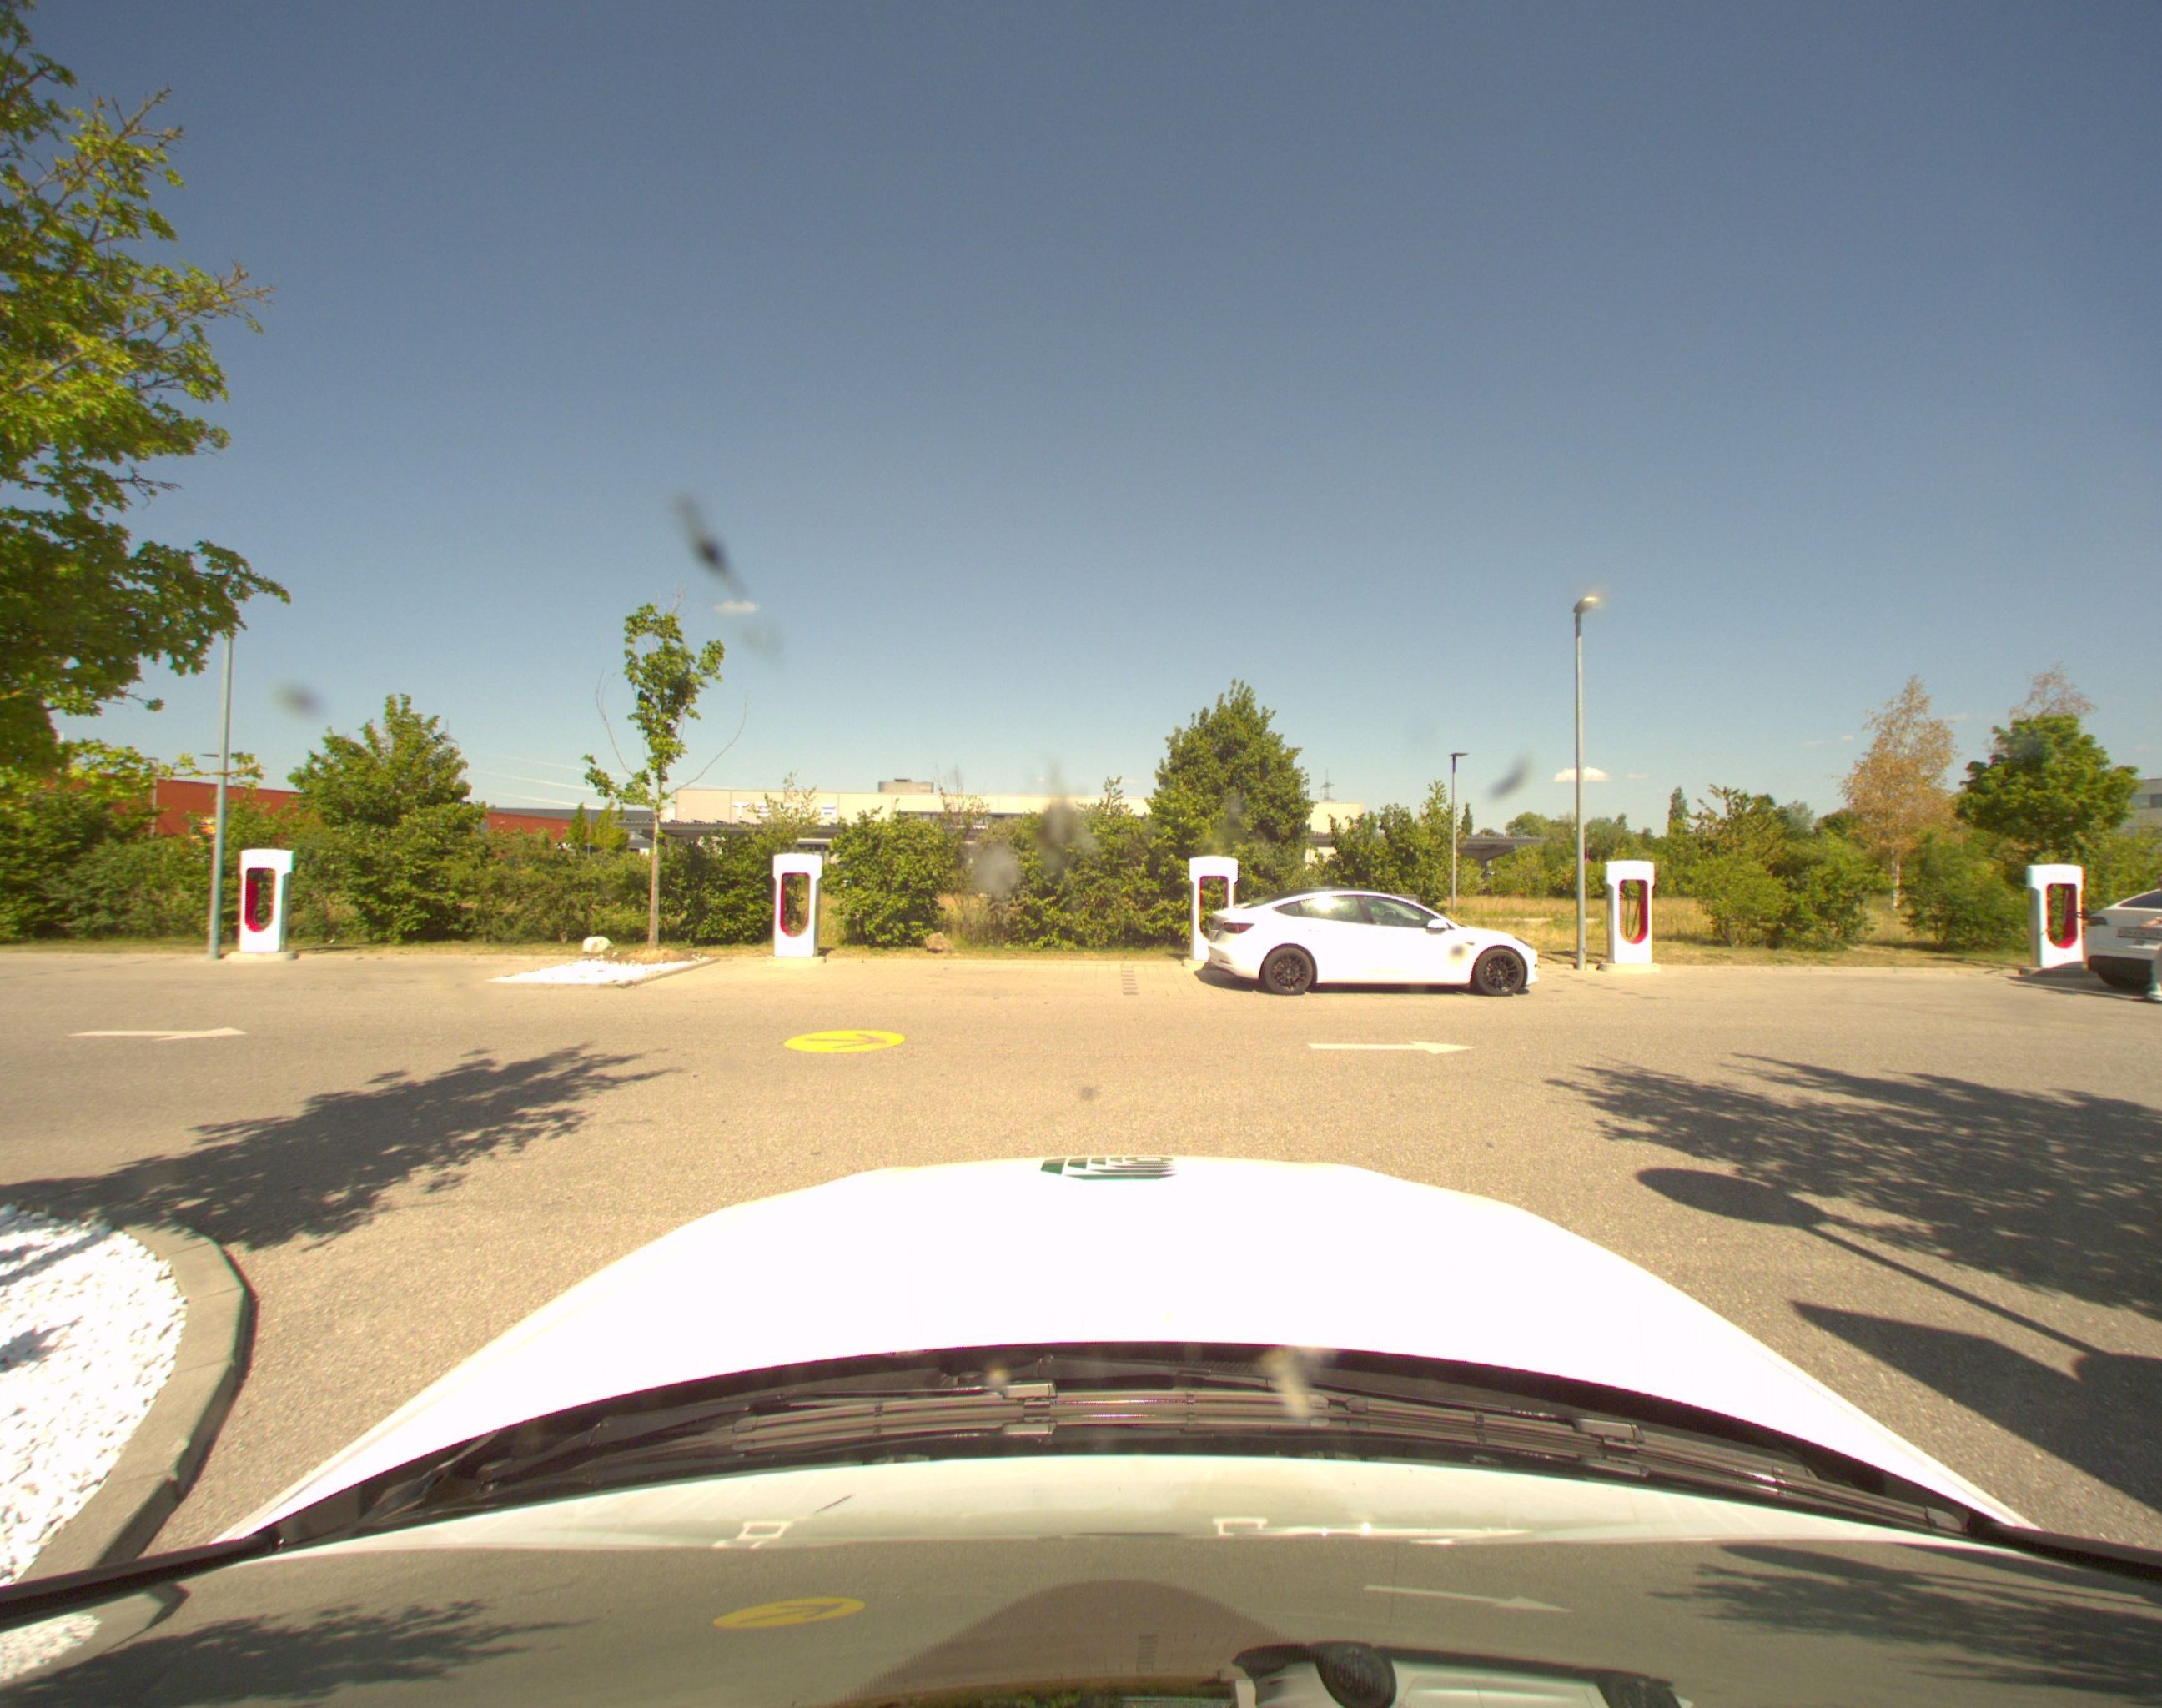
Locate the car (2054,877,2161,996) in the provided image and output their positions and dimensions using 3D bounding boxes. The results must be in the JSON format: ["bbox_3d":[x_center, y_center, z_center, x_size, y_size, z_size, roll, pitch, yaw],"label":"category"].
[{"bbox_3d":[17.008,1.158,11.515,4.463,1.600,1.868,0,-1,-3],"label":"car"}]

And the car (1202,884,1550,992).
[{"bbox_3d":[4.071,1.157,11.808,4.418,1.377,1.823,0,-1,1],"label":"car"}]

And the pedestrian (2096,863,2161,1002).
[{"bbox_3d":[14.417,1.031,10.758,0.733,1.800,1.034,0,0,-4],"label":"pedestrian"}]
